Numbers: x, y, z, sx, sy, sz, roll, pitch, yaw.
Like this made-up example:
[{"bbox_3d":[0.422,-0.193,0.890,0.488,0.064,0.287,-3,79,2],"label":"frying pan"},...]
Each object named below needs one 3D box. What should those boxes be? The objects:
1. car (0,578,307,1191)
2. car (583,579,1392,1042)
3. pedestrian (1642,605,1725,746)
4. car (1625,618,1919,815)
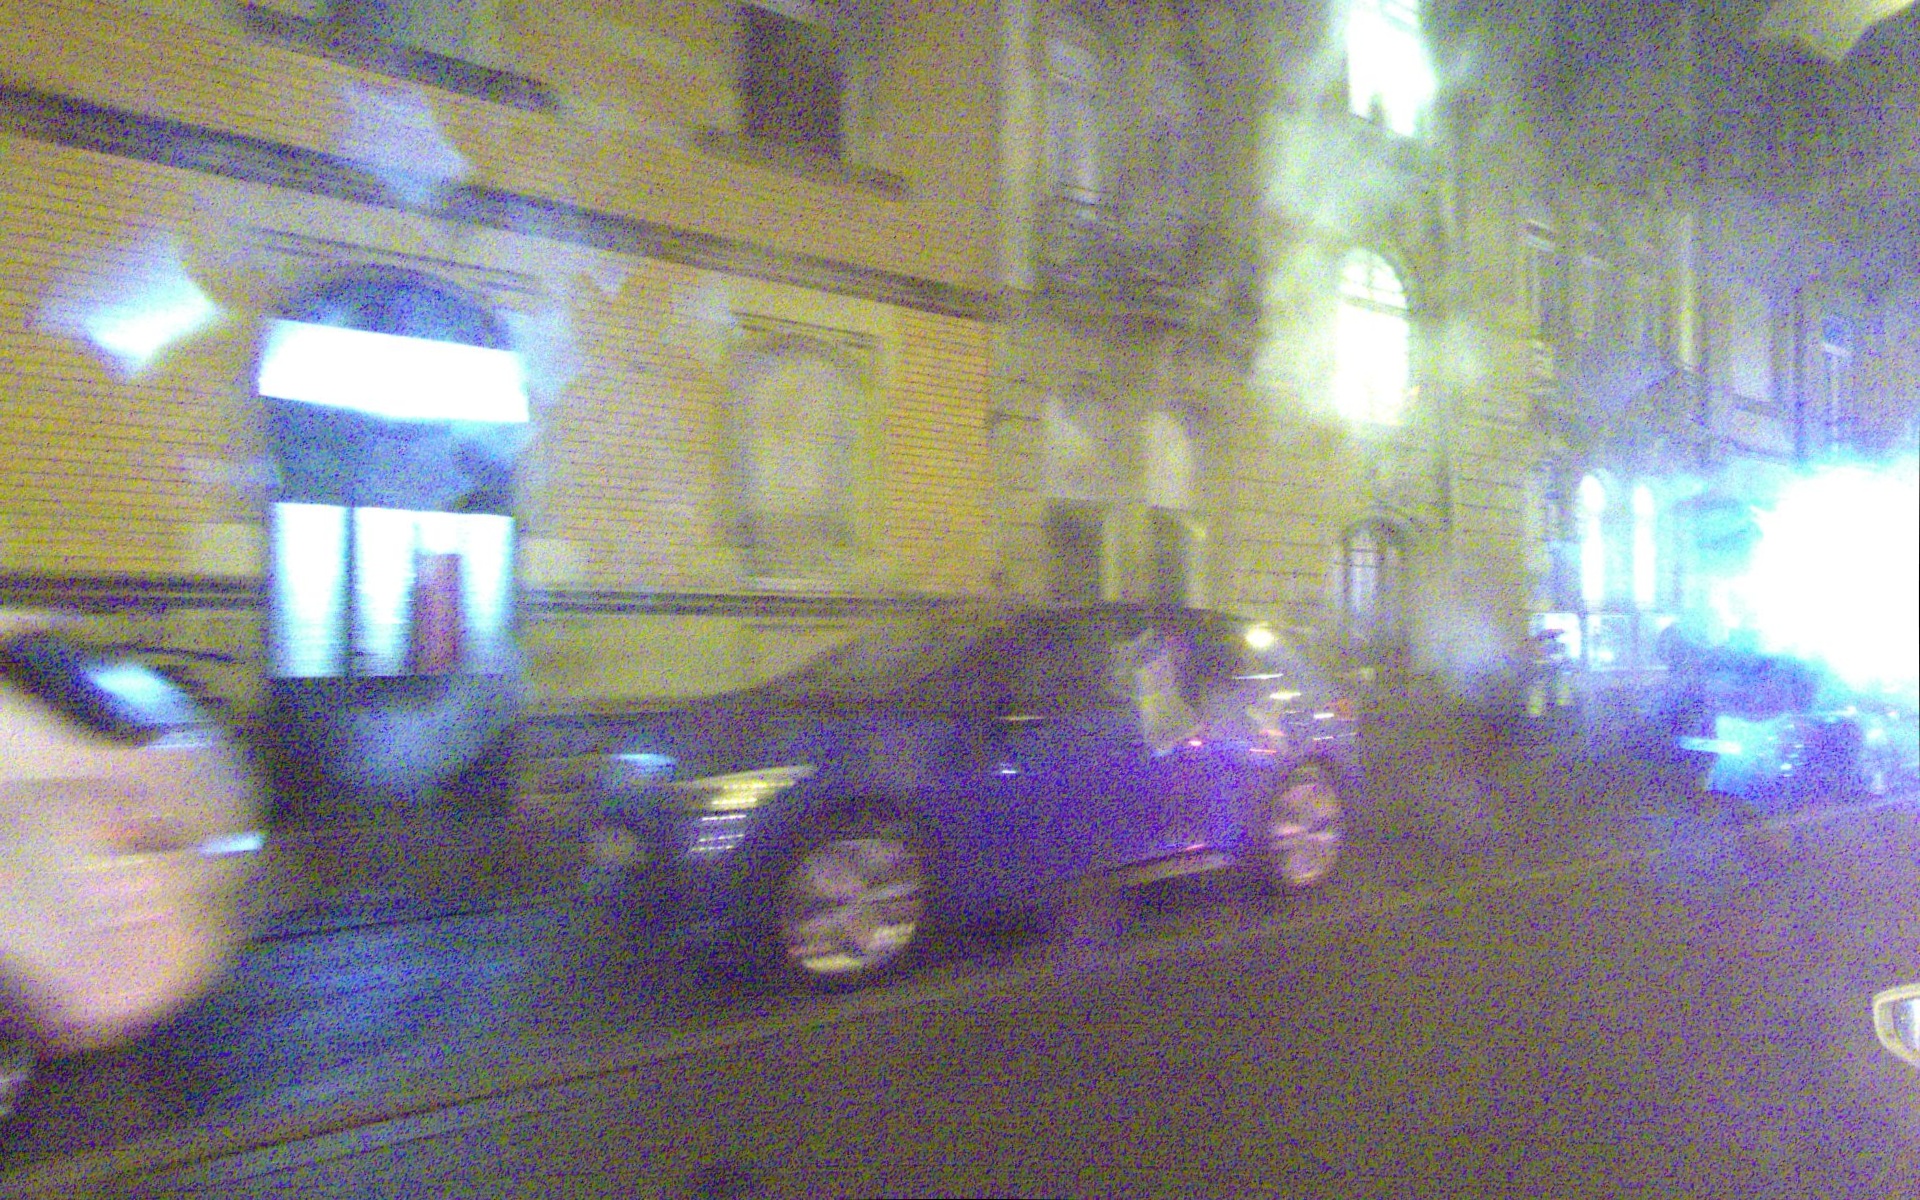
[{"bbox_3d":[-3.928,0.670,2.473,3.747,1.502,1.580,1,-1,-29],"label":"car"},{"bbox_3d":[0.324,0.763,5.256,4.034,1.578,1.645,1,-1,-34],"label":"car"},{"bbox_3d":[9.166,0.934,12.735,0.533,1.726,0.698,1,-1,-30],"label":"pedestrian"},{"bbox_3d":[8.587,1.005,10.080,4.034,1.578,1.802,1,-1,-34],"label":"car"}]
